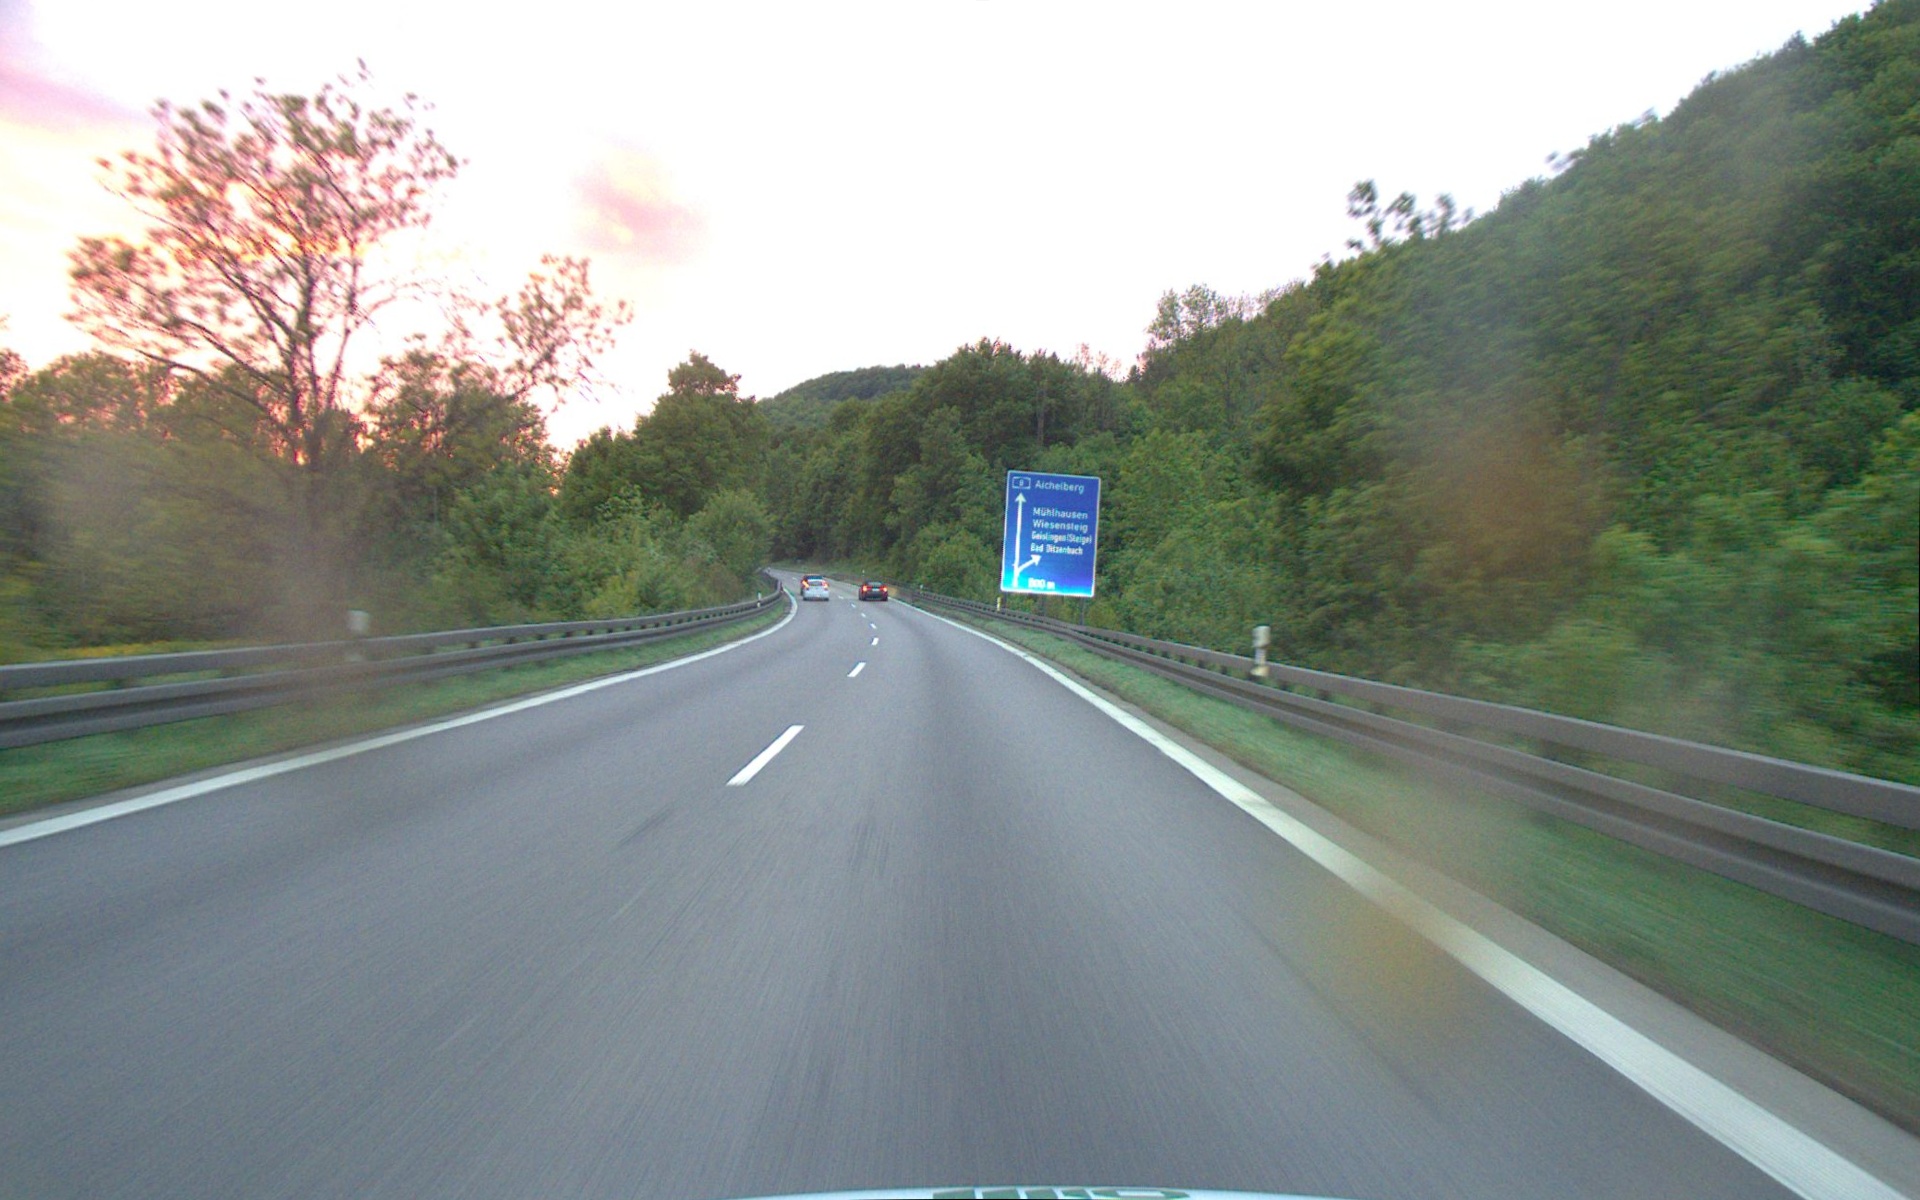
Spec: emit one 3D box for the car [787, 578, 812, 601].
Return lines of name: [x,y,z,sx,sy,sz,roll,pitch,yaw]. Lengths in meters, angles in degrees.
car: [-12.850,-0.835,132.663,1.684,1.664,3.998,2,-1,-2]

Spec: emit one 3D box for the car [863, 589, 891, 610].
car: [-5.855,-0.025,117.519,1.840,1.492,3.999,0,-1,-1]

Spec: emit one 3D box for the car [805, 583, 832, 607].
car: [-9.871,-0.321,115.503,1.684,1.527,3.998,2,-1,-2]
